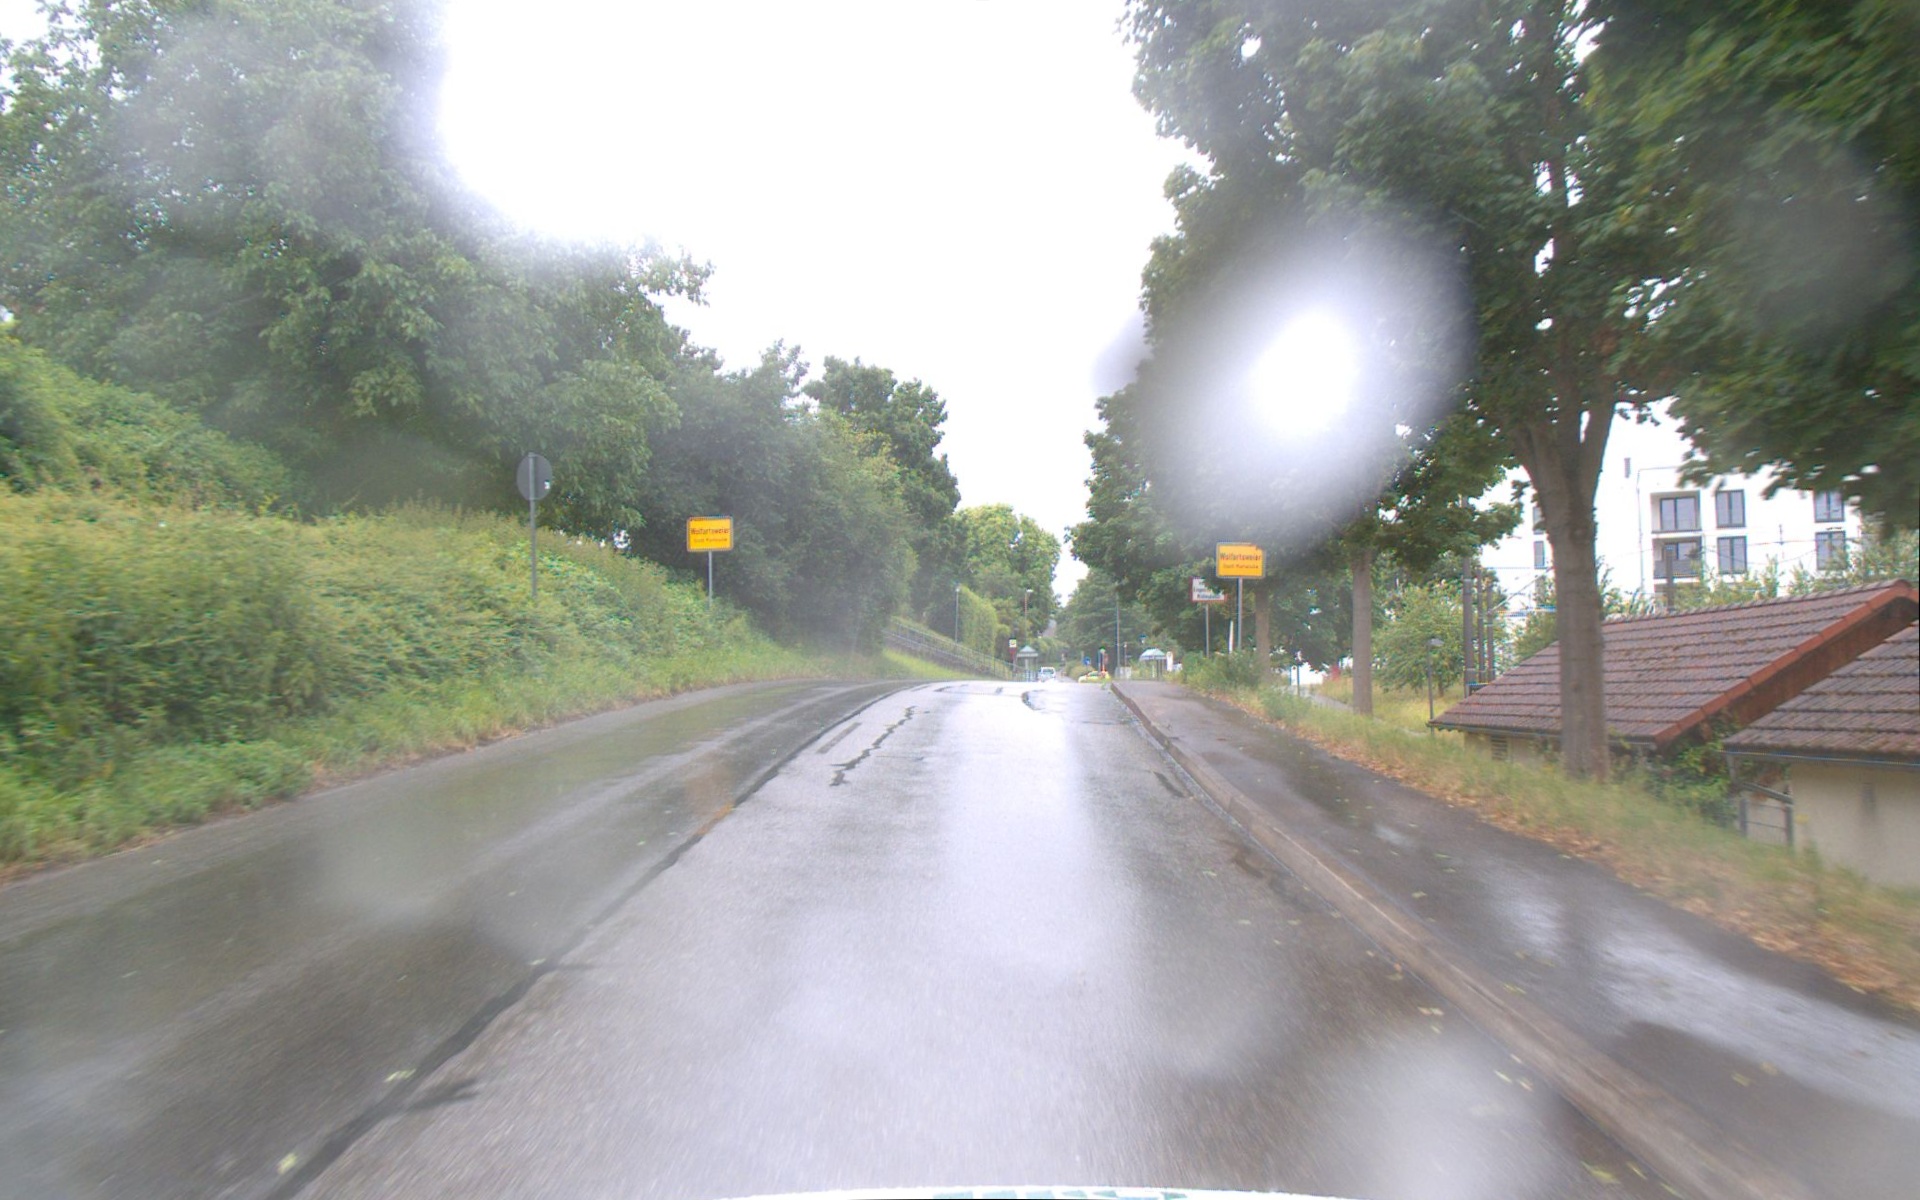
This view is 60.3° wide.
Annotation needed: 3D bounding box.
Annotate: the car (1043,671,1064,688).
[{"bbox_3d":[8.800,7.474,155.262,1.724,1.529,4.140,-2,-4,1],"label":"car"}]
